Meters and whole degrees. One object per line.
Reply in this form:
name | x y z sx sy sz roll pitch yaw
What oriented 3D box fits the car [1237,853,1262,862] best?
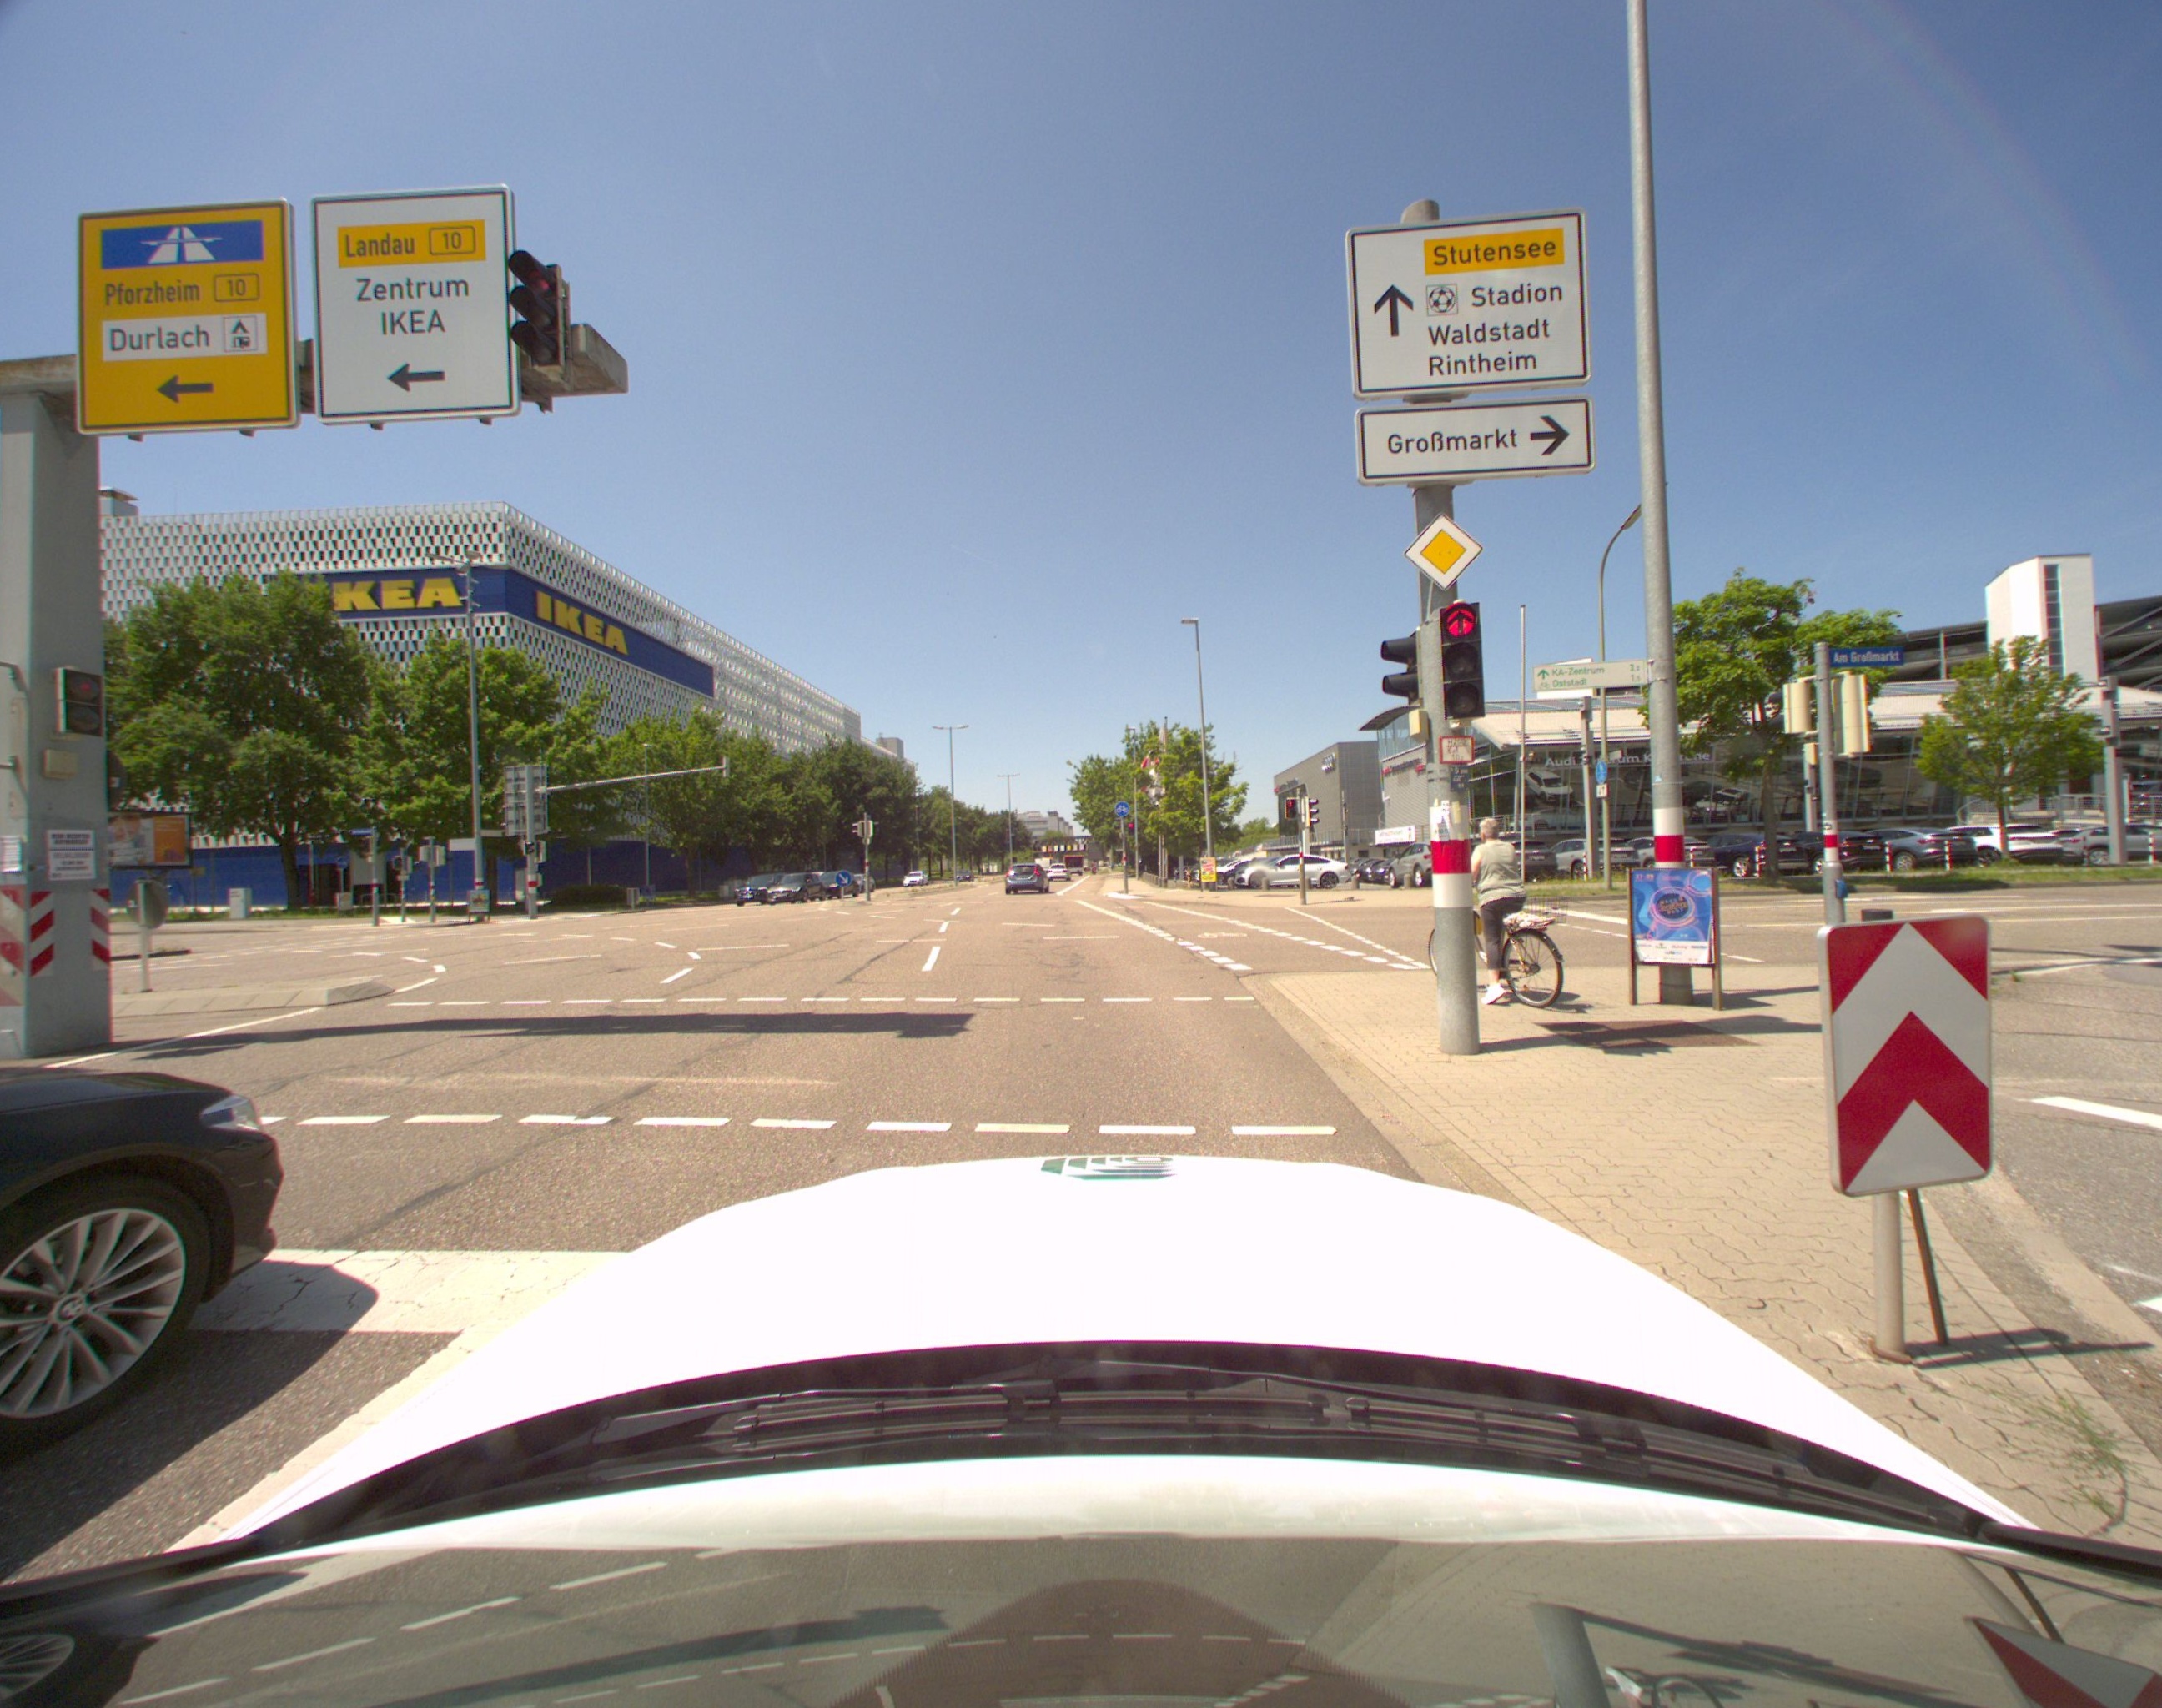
car | 29.210 0.645 141.417 3.978 1.312 1.795 -2 -1 -3

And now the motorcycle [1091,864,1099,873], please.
motorcycle | 1.799 1.912 106.264 0.716 1.105 1.825 0 -1 -8

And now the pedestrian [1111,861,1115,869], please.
pedestrian | 5.238 1.848 134.080 0.621 1.374 0.564 -2 -1 0

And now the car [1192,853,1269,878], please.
car | 8.489 0.657 46.449 4.084 1.349 1.869 0 -1 1

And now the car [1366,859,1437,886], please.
car | 19.201 1.084 48.876 3.634 1.580 1.643 0 -1 1

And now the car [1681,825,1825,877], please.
car | 23.145 -0.076 28.252 1.624 1.654 3.907 -1 -1 -2

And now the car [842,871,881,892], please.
car | -16.187 2.007 60.121 1.643 1.486 3.916 -3 -1 2

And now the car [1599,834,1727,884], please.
car | 20.174 0.143 28.420 1.632 1.616 3.815 -1 1 -2

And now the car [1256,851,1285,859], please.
car | 27.019 0.151 116.250 3.716 1.130 1.682 0 -1 -3

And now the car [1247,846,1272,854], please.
car | 27.241 -0.644 124.214 3.515 1.239 1.675 0 -1 -3

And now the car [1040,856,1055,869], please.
car | -5.284 1.412 128.892 1.986 2.014 4.814 0 -1 2

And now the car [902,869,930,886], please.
car | -16.010 2.293 79.097 1.737 1.486 4.001 -3 -1 2

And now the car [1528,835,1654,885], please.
car | 17.847 0.226 28.727 1.840 1.654 3.994 0 -1 -2

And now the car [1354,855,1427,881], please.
car | 19.345 0.863 50.996 3.967 1.573 1.634 0 -1 1

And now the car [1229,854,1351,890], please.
car | 8.456 0.713 33.194 4.572 1.390 1.871 0 -1 3

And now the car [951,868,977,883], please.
car | -12.724 2.288 88.536 1.718 1.446 4.725 -4 -1 4

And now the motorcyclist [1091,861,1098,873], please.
motorcyclist | 1.793 1.698 106.270 0.719 1.529 0.868 0 -1 -8

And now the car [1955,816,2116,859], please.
car | 39.869 -0.670 34.164 3.947 1.571 1.862 -3 -1 31

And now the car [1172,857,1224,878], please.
car | 8.629 0.994 60.241 3.668 1.453 1.834 0 -1 1

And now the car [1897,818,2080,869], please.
car | 31.200 -0.308 28.197 1.840 1.654 3.994 0 -1 -2

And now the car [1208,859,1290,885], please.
car | 8.967 0.952 43.636 4.081 1.364 1.875 0 -1 1

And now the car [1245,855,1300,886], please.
car | 9.238 0.793 39.609 1.855 1.420 4.667 0 -1 4

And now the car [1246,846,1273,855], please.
car | 28.235 -0.591 128.973 3.977 1.312 1.795 0 -1 -3

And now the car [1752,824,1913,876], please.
car | 25.878 -0.098 28.260 1.840 1.654 3.994 0 -1 -2

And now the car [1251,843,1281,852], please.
car | 27.235 -0.889 119.991 3.930 1.211 1.715 -1 -1 -3

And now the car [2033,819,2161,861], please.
car | 39.641 -0.554 30.636 4.531 1.471 1.925 -3 -1 26

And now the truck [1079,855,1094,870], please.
truck | 0.996 1.581 151.787 2.605 2.850 5.616 0 -1 2

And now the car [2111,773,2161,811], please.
car | 53.485 -3.105 39.405 1.905 1.722 4.142 -2 0 -5

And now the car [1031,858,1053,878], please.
car | -4.091 1.453 86.033 1.986 2.014 4.000 -2 -1 1

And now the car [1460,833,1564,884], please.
car | 15.024 0.169 28.659 1.836 1.654 4.003 0 -1 5

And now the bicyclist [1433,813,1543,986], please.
bicyclist | 3.983 0.423 8.023 0.627 1.606 0.824 0 -1 -5

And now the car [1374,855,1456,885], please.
car | 18.837 0.888 46.009 3.970 1.622 1.657 0 -1 1

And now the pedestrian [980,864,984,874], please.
pedestrian | -19.001 2.798 156.242 0.741 1.884 0.578 -2 -1 2

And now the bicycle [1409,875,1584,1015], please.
bicycle | 3.988 0.814 8.014 0.627 1.133 1.891 -1 0 -5

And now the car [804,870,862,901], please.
car | -13.777 1.724 45.477 1.720 1.505 4.245 -4 -1 2

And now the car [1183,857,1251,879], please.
car | 8.679 0.892 52.130 4.085 1.405 1.869 0 -1 1

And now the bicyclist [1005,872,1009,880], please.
bicyclist | -15.664 4.637 172.909 0.635 1.582 0.884 -2 -1 -1

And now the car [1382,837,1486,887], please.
car | 12.381 0.333 28.932 1.860 1.558 4.506 -3 -2 3

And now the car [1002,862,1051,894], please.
car | -2.595 1.139 39.685 1.893 1.376 4.233 -2 -1 2

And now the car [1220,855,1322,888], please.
car | 8.304 0.751 35.854 4.081 1.390 1.869 0 -1 1

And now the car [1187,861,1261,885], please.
car | 8.598 1.153 49.131 4.210 1.390 1.869 0 -1 1

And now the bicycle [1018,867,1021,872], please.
bicycle | -14.570 3.771 193.203 0.627 1.159 2.118 -4 -1 1

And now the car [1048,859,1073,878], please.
car | -1.653 1.169 66.862 1.737 1.396 3.530 -2 0 2

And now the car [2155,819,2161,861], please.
car | 39.530 -0.558 26.881 4.558 1.471 1.861 -2 0 26

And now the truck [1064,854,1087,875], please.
truck | -0.654 1.196 97.707 2.449 2.410 7.136 0 -1 2

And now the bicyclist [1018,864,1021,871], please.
bicyclist | -14.605 3.238 193.155 0.631 1.629 1.045 -4 -1 1

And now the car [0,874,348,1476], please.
car | -3.550 0.800 0.621 1.791 1.440 4.557 -2 0 1

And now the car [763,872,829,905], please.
car | -13.667 1.635 39.298 1.637 1.389 3.717 -4 -1 2

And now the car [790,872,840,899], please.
car | -16.672 1.937 51.181 1.720 1.544 3.916 -3 -1 2

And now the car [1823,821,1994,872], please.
car | 28.508 -0.224 28.260 1.840 1.654 3.994 0 -1 -2

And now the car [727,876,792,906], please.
car | -16.803 1.899 42.818 1.654 1.424 4.039 -3 -1 2

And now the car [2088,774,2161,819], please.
car | 45.689 -2.472 34.018 4.552 1.707 1.916 -2 -1 4
